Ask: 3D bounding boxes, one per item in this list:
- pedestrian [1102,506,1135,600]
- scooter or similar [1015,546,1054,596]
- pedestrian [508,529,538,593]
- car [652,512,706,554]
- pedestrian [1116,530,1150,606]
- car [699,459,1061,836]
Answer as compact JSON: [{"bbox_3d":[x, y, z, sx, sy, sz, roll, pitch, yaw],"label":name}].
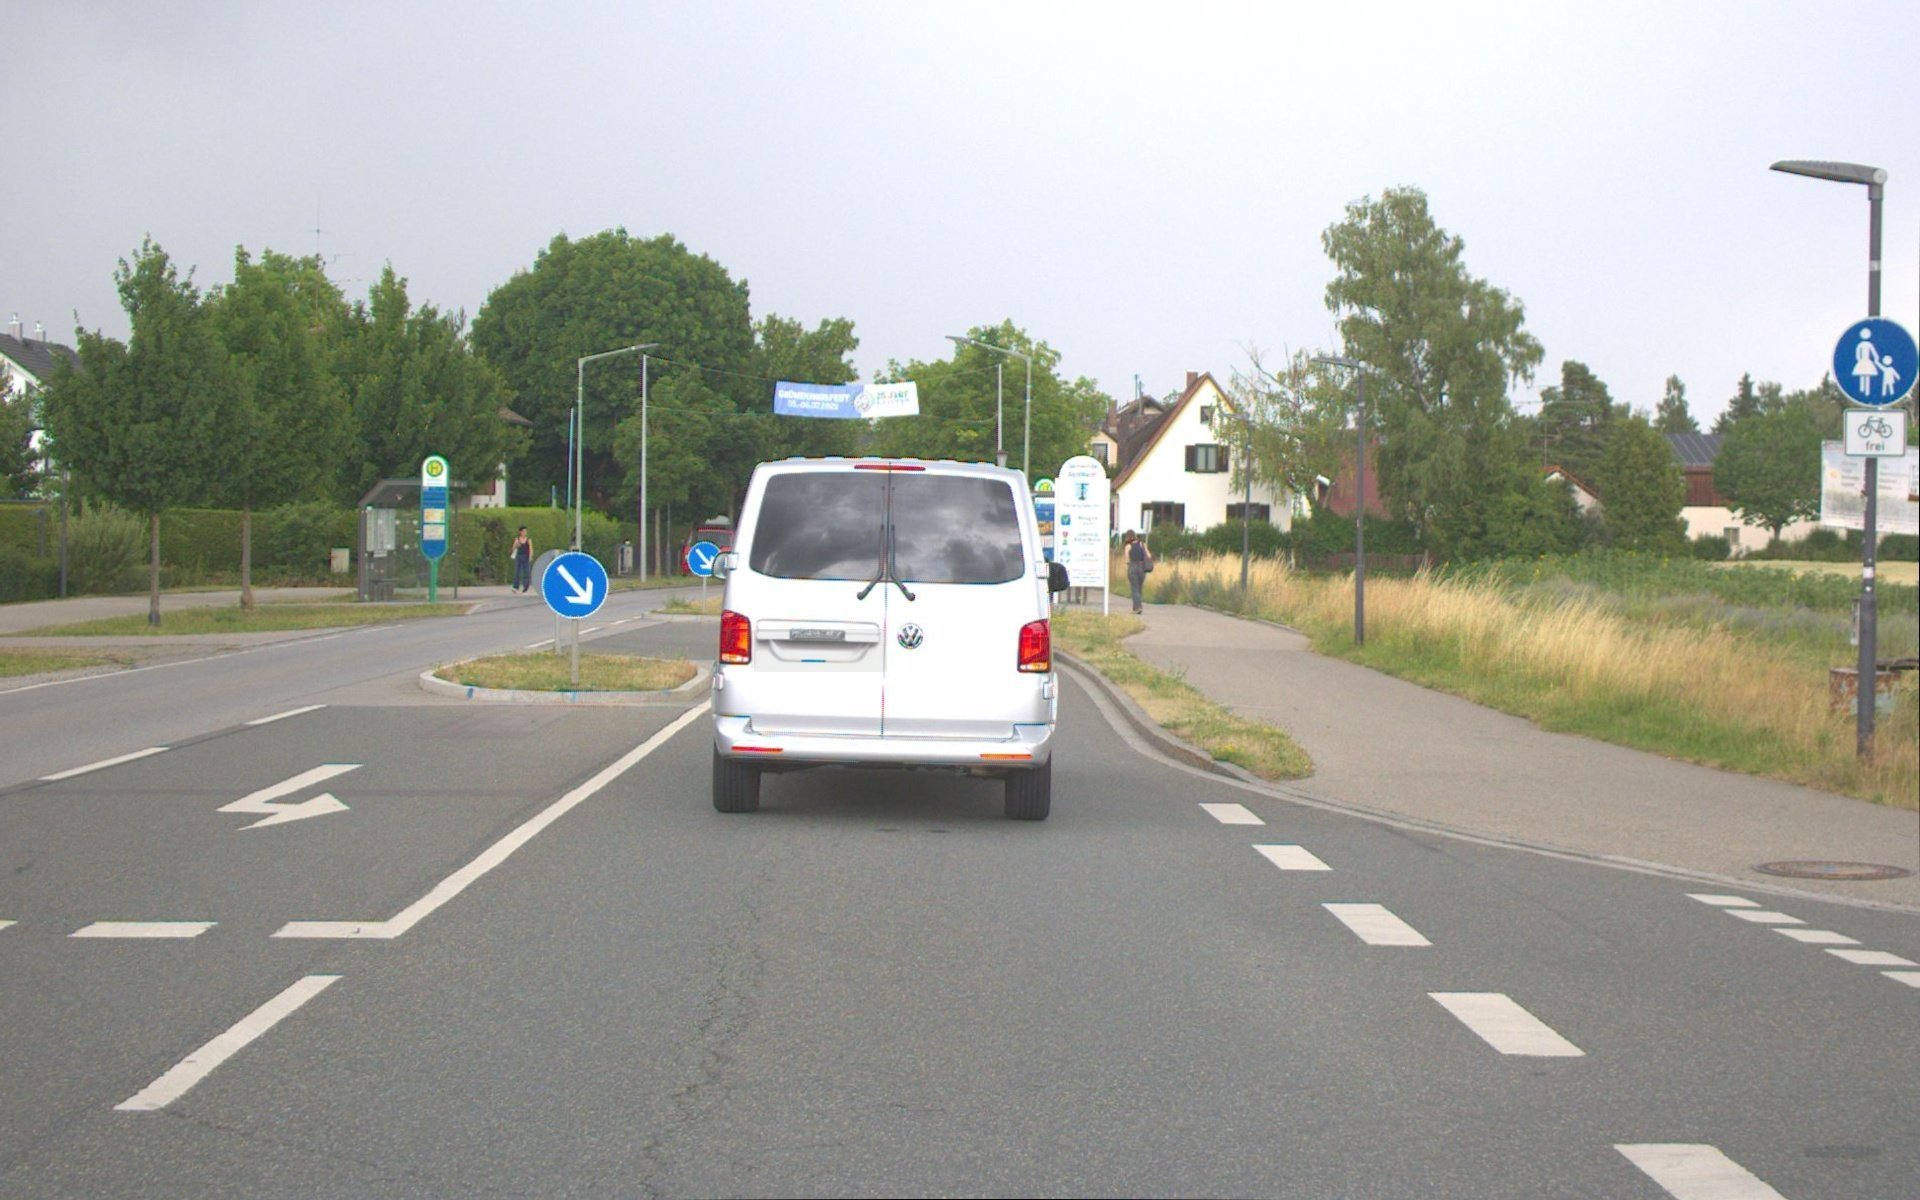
[{"bbox_3d":[2.929,-0.870,63.488,0.485,1.726,0.642,-1,1,-7],"label":"pedestrian"},{"bbox_3d":[1.699,-0.664,78.365,0.848,1.100,1.094,-1,1,0],"label":"scooter or similar"},{"bbox_3d":[-10.530,-0.946,82.869,0.623,1.519,0.680,-1,1,-1],"label":"pedestrian"},{"bbox_3d":[-9.824,-2.359,120.328,1.653,1.424,3.603,-1,1,-1],"label":"car"},{"bbox_3d":[3.510,-0.651,69.869,0.623,1.519,0.680,-1,1,-1],"label":"pedestrian"},{"bbox_3d":[-0.491,0.198,19.883,1.825,1.907,4.001,2,1,-2],"label":"car"}]
